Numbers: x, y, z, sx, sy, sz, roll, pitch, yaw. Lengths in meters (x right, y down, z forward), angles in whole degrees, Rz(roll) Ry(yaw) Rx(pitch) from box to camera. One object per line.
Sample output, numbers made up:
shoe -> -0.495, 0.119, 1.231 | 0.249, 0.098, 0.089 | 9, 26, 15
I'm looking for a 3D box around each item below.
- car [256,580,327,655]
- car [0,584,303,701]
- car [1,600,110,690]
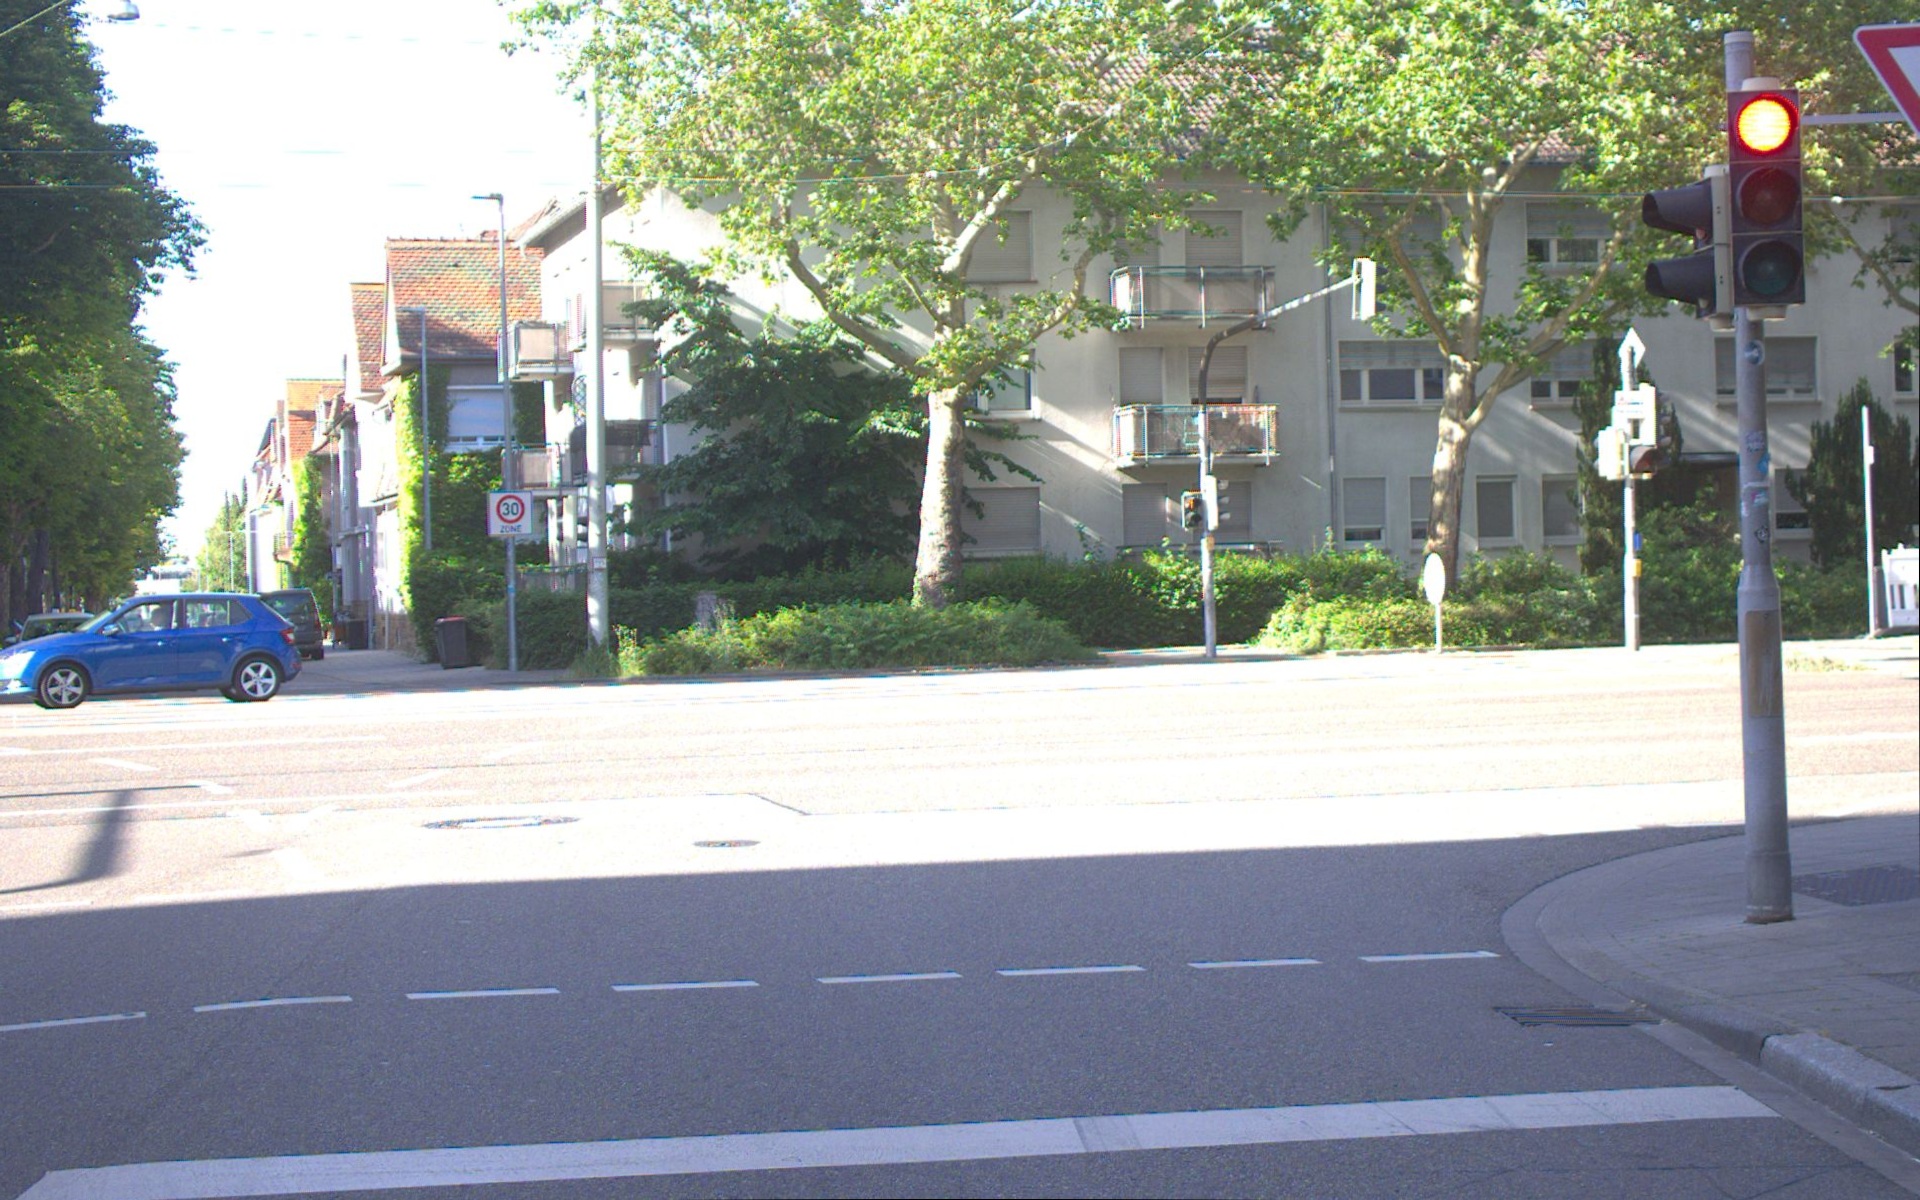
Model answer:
car -> -18.452, 0.448, 94.818 | 1.772, 1.912, 3.535 | -3, 1, -12
car -> -10.669, 0.536, 45.029 | 3.780, 1.395, 1.646 | -1, 1, -21
car -> -16.642, 0.807, 63.364 | 1.698, 1.478, 3.535 | -3, 1, -12
